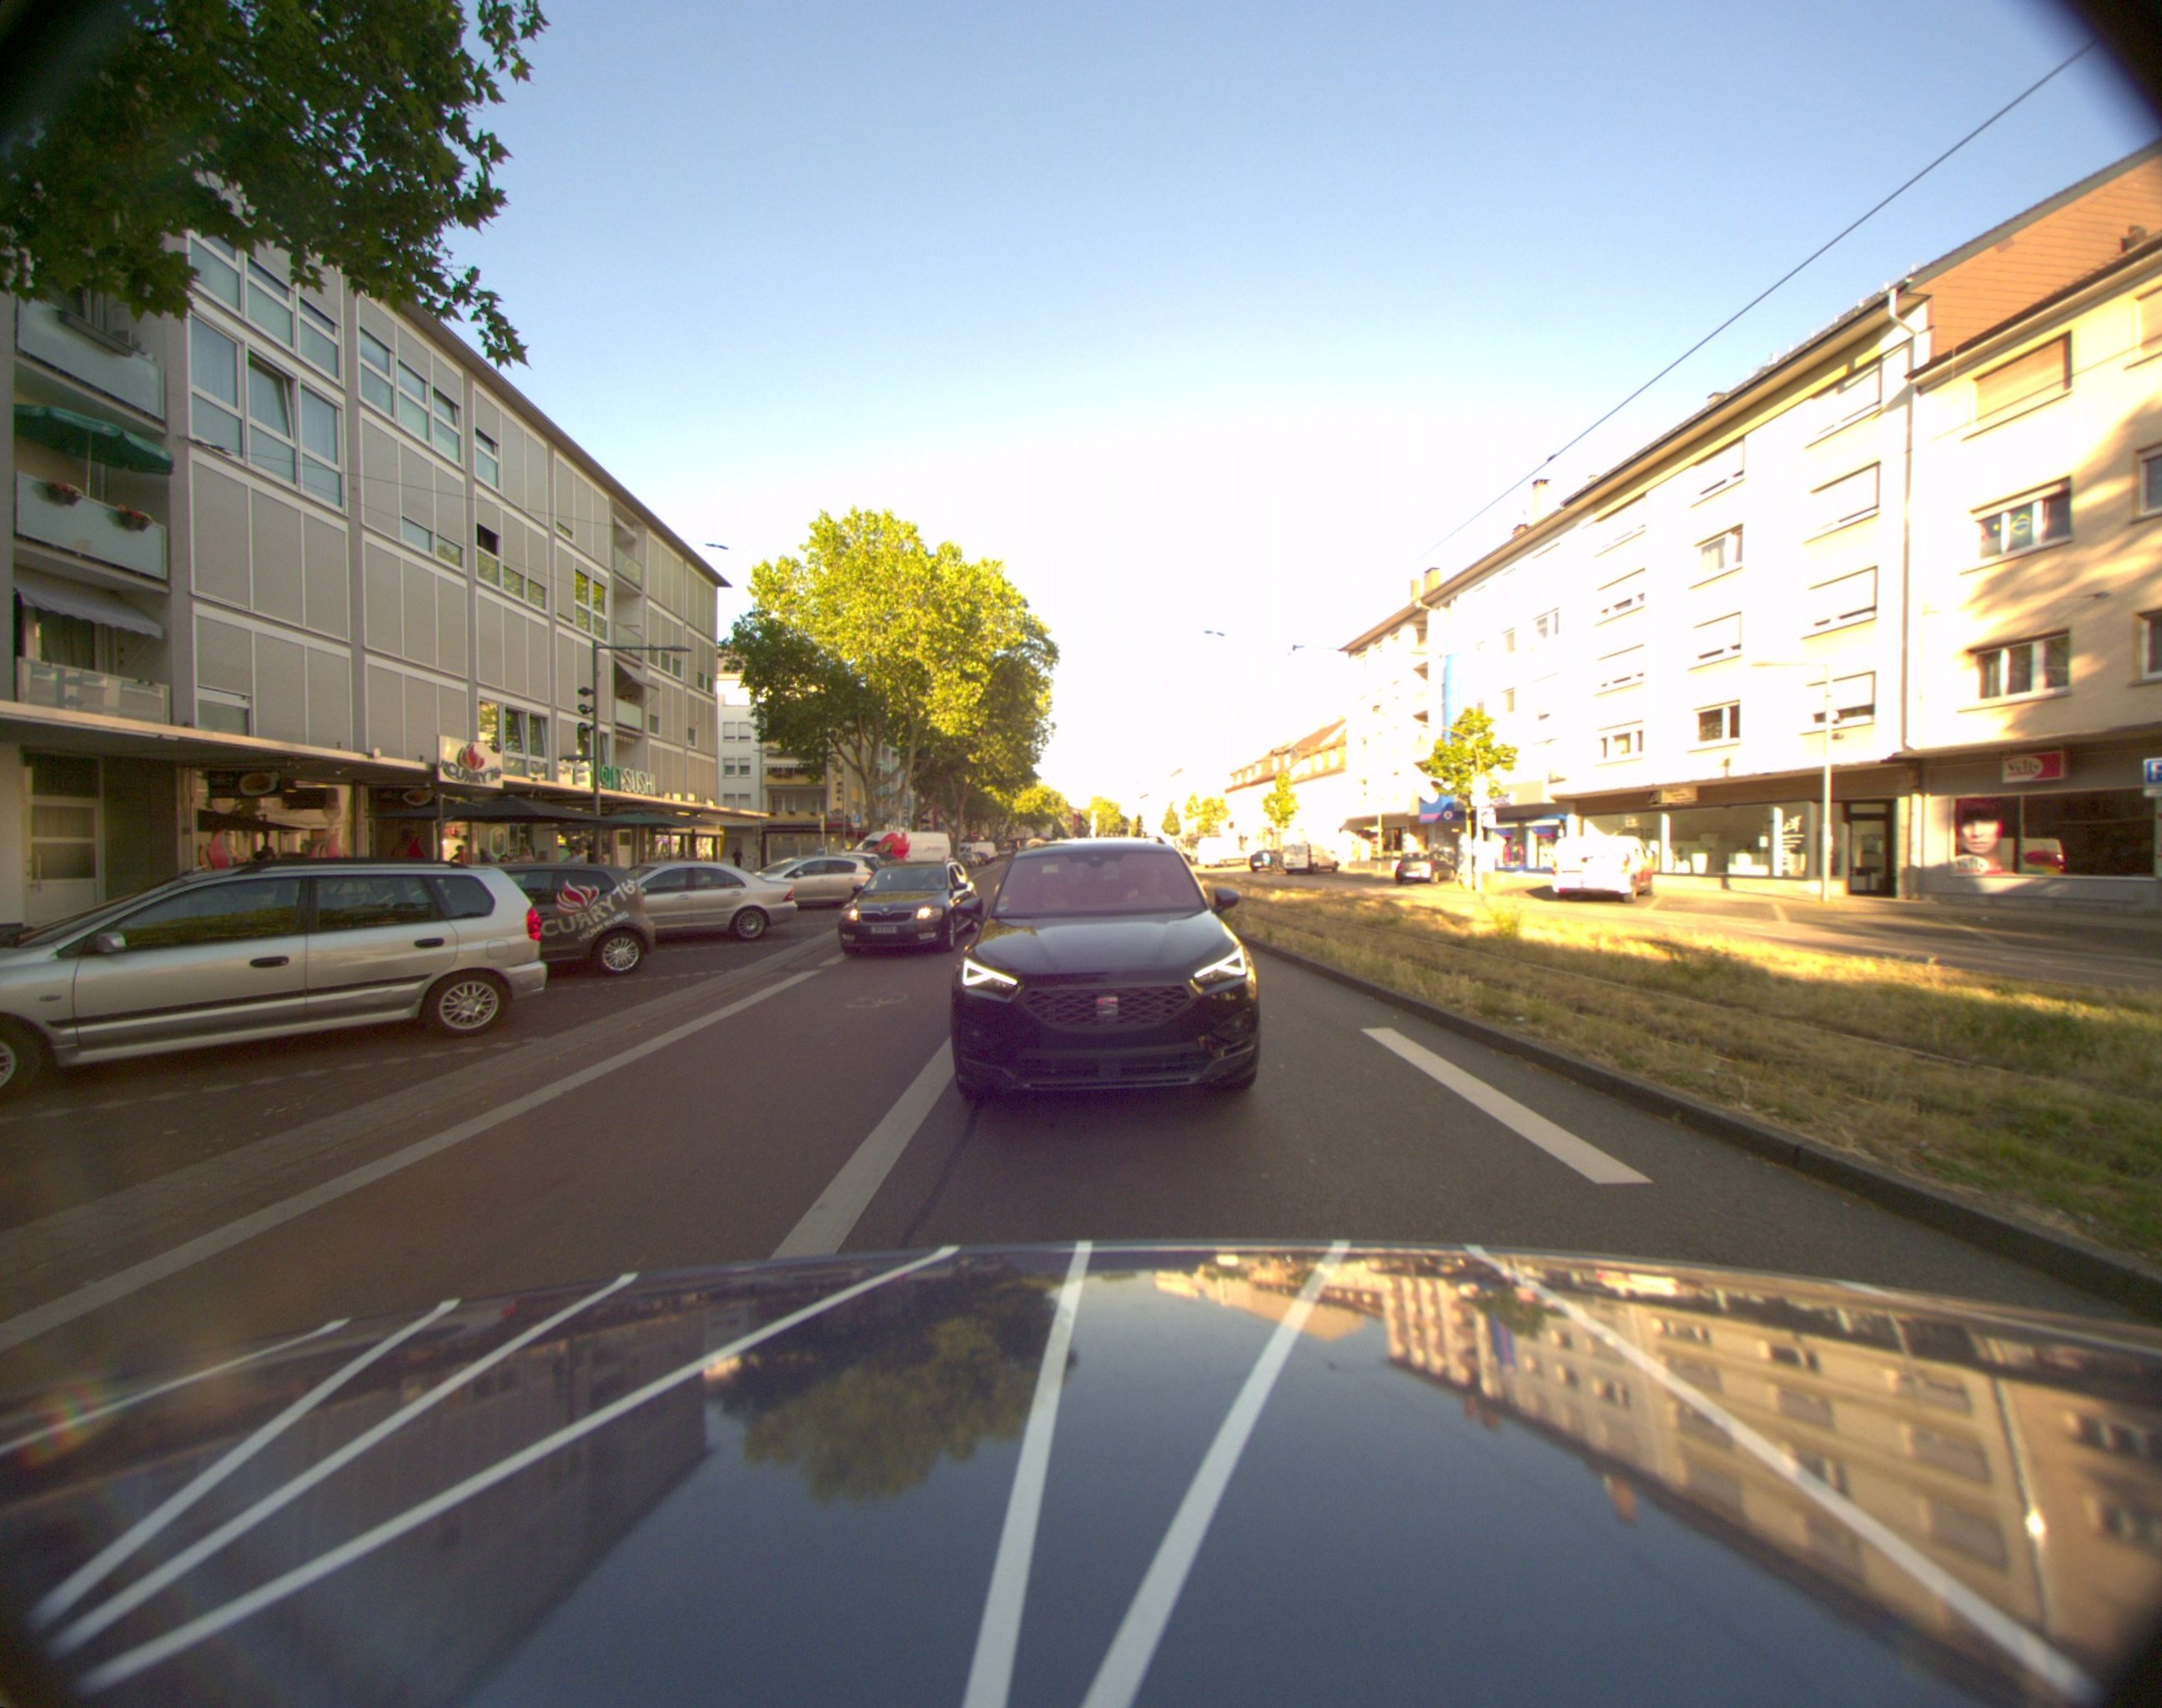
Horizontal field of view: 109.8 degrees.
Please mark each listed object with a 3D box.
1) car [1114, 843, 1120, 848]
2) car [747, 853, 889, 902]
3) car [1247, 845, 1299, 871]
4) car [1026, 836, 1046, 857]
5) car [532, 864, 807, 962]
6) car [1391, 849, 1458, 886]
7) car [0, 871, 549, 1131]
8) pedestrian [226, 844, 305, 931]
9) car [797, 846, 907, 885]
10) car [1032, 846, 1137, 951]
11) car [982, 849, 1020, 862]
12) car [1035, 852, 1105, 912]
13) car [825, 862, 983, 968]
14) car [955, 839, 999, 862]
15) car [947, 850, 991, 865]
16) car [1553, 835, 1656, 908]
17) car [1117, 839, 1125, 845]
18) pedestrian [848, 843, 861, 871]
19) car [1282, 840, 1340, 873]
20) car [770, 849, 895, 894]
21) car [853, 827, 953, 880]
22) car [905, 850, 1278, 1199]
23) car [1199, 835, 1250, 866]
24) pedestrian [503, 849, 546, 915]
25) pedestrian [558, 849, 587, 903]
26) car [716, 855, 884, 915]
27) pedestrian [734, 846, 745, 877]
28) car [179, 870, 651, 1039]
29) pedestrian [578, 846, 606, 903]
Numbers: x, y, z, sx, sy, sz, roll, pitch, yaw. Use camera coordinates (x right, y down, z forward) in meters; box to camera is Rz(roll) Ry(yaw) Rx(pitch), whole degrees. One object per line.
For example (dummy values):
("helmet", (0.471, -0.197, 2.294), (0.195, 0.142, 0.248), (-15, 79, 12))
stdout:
("car", (10.272, -2.482, 217.508), (1.845, 1.571, 4.450), (0, 1, 1))
("car", (-8.326, 0.723, 24.164), (3.949, 1.420, 1.672), (1, 1, -34))
("car", (13.795, 0.245, 54.522), (3.922, 1.704, 1.853), (-2, 1, -45))
("car", (-6.593, -1.132, 112.814), (2.660, 2.989, 7.131), (-2, 1, -2))
("car", (-7.103, 0.920, 13.416), (1.592, 1.393, 3.950), (2, 1, 41))
("car", (15.416, 0.568, 34.026), (1.731, 1.489, 4.008), (-1, 1, 40))
("car", (-6.874, 0.966, 6.036), (1.672, 1.533, 3.992), (0, 1, 38))
("pedestrian", (-15.153, 0.600, 14.134), (0.583, 1.573, 0.771), (0, 1, 2))
("car", (-9.190, 0.462, 30.578), (3.948, 1.421, 1.672), (2, 2, -29))
("car", (0.043, 0.705, 14.413), (1.646, 1.646, 3.999), (-2, 1, -1))
("car", (-8.667, 0.165, 82.602), (1.778, 1.326, 3.943), (1, 1, 44))
("car", (-0.307, 0.709, 21.405), (1.729, 1.467, 3.999), (-2, 1, -1))
("car", (-2.927, 0.938, 13.480), (1.728, 1.443, 4.228), (-2, 1, 0))
("car", (-11.572, -0.413, 85.082), (1.973, 2.454, 4.605), (1, 1, 44))
("car", (-10.718, 0.280, 72.970), (1.778, 1.396, 3.943), (1, 1, 44))
("car", (15.600, 0.452, 22.568), (1.853, 1.888, 4.007), (-1, 2, 44))
("car", (12.356, -3.793, 234.473), (1.999, 1.783, 3.998), (0, 1, -4))
("pedestrian", (-16.192, 0.187, 54.270), (0.748, 2.002, 0.764), (0, 1, -4))
("car", (14.525, 0.113, 47.830), (1.853, 1.927, 4.513), (-1, 1, 40))
("car", (-8.884, 0.637, 27.279), (3.948, 1.421, 1.672), (2, 2, -32))
("car", (-8.784, 0.006, 37.831), (4.606, 2.479, 1.672), (0, -1, -44))
("car", (0.077, 0.839, 5.760), (1.785, 1.639, 3.999), (-2, 1, 1))
("car", (13.029, -0.361, 68.610), (1.922, 2.599, 6.601), (-1, 1, 34))
("pedestrian", (-13.537, 0.665, 18.488), (0.561, 1.567, 0.642), (0, 1, -5))
("pedestrian", (-15.428, 0.650, 23.068), (0.537, 1.630, 0.478), (0, 1, -4))
("car", (-7.496, 0.797, 20.512), (3.950, 1.420, 1.555), (1, 1, -45))
("pedestrian", (-19.337, 0.434, 43.034), (0.481, 1.720, 0.347), (-1, 1, -38))
("car", (-7.560, 0.962, 8.990), (1.672, 1.420, 3.950), (2, 1, 38))
("pedestrian", (-14.879, 0.611, 23.118), (0.545, 1.710, 0.457), (0, 1, -4))
